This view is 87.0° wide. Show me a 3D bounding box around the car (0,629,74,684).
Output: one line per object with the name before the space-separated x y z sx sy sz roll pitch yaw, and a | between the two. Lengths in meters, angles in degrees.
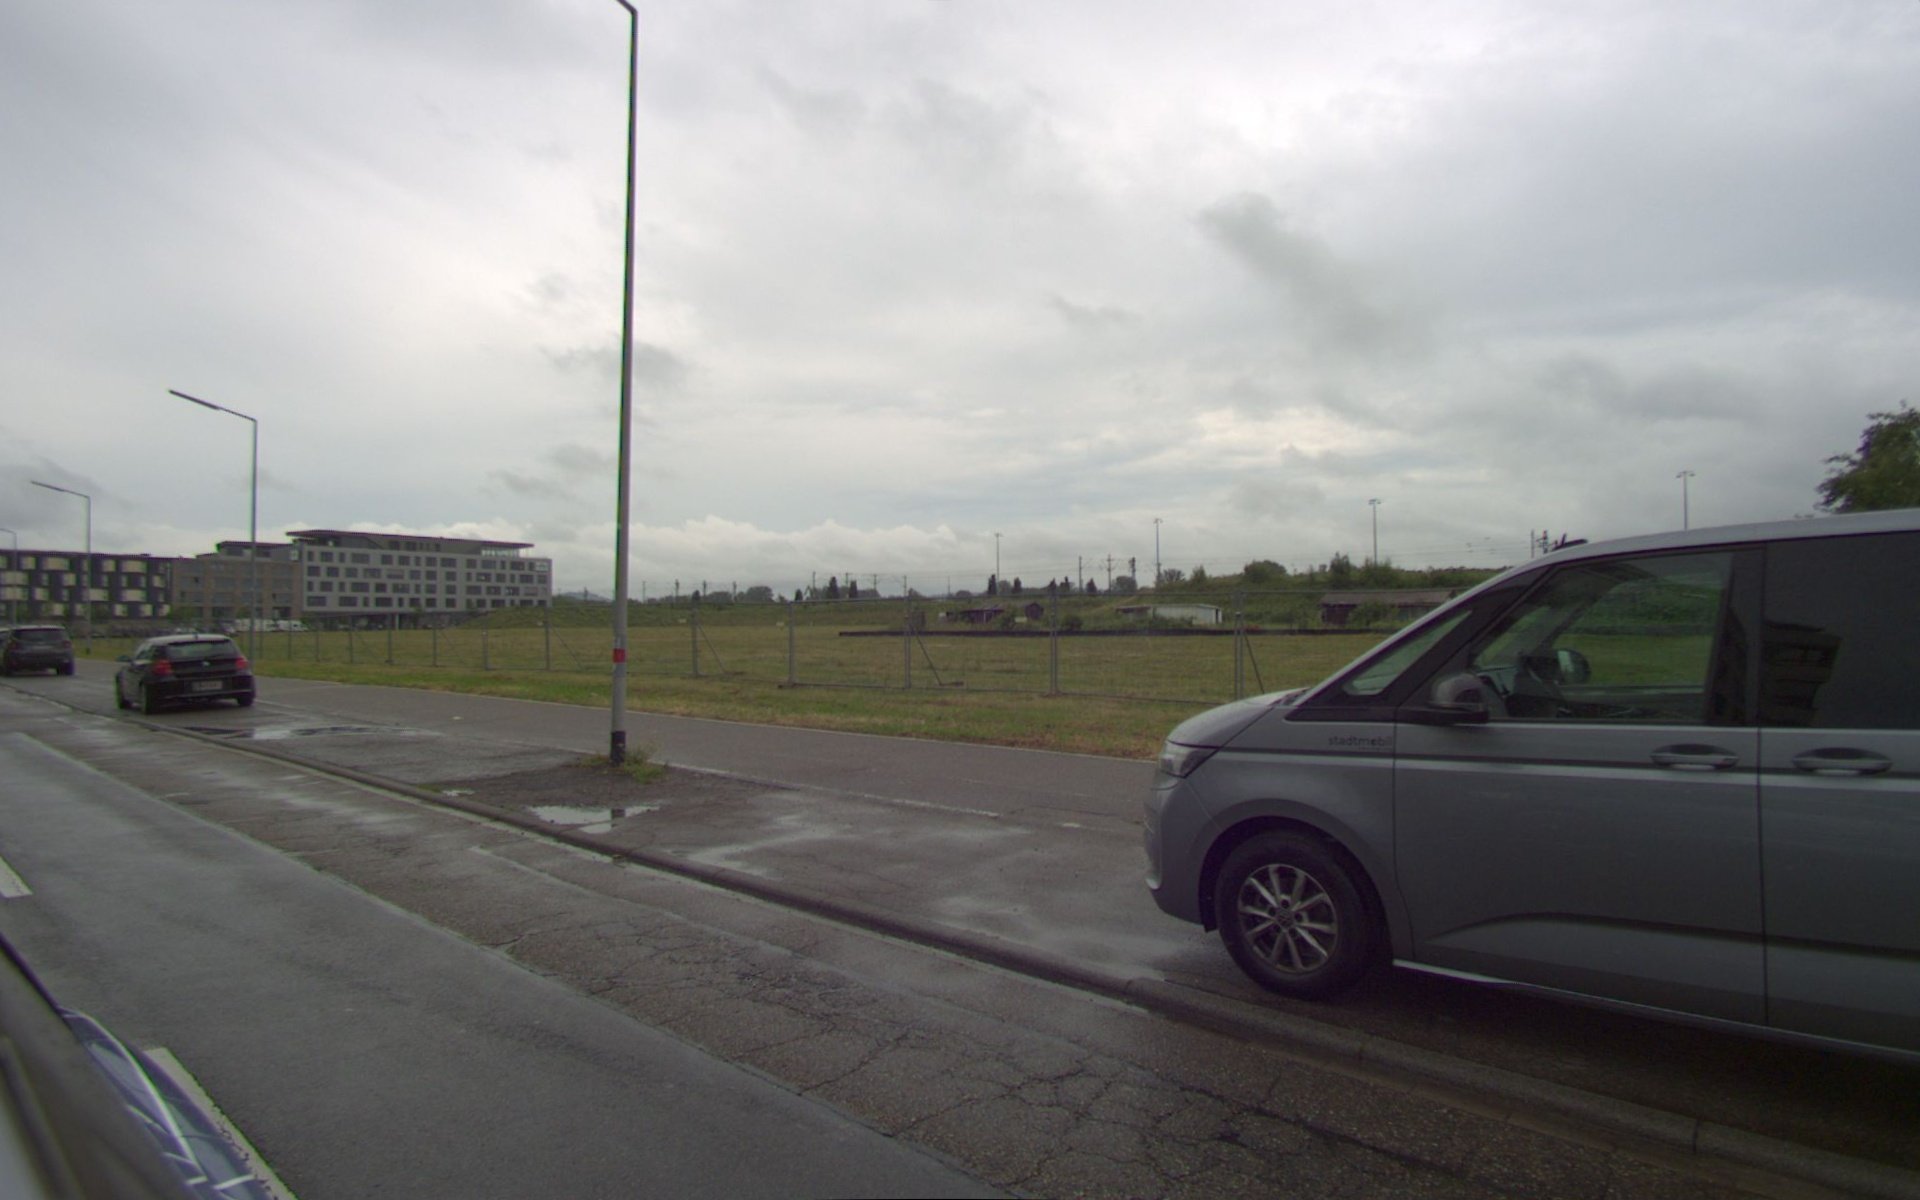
car | -31.603 1.881 34.473 4.882 1.706 1.733 -2 -2 44

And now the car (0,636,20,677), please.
car | -40.478 2.324 41.931 4.207 1.587 1.708 -1 -1 40

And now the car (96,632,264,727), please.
car | -15.472 1.487 20.006 4.150 1.573 1.828 -2 0 41

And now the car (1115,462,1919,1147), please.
car | 3.220 0.577 3.658 4.992 1.916 1.935 -2 -1 41

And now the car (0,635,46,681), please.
car | -35.790 2.154 37.982 4.131 1.602 1.734 -2 -2 41
